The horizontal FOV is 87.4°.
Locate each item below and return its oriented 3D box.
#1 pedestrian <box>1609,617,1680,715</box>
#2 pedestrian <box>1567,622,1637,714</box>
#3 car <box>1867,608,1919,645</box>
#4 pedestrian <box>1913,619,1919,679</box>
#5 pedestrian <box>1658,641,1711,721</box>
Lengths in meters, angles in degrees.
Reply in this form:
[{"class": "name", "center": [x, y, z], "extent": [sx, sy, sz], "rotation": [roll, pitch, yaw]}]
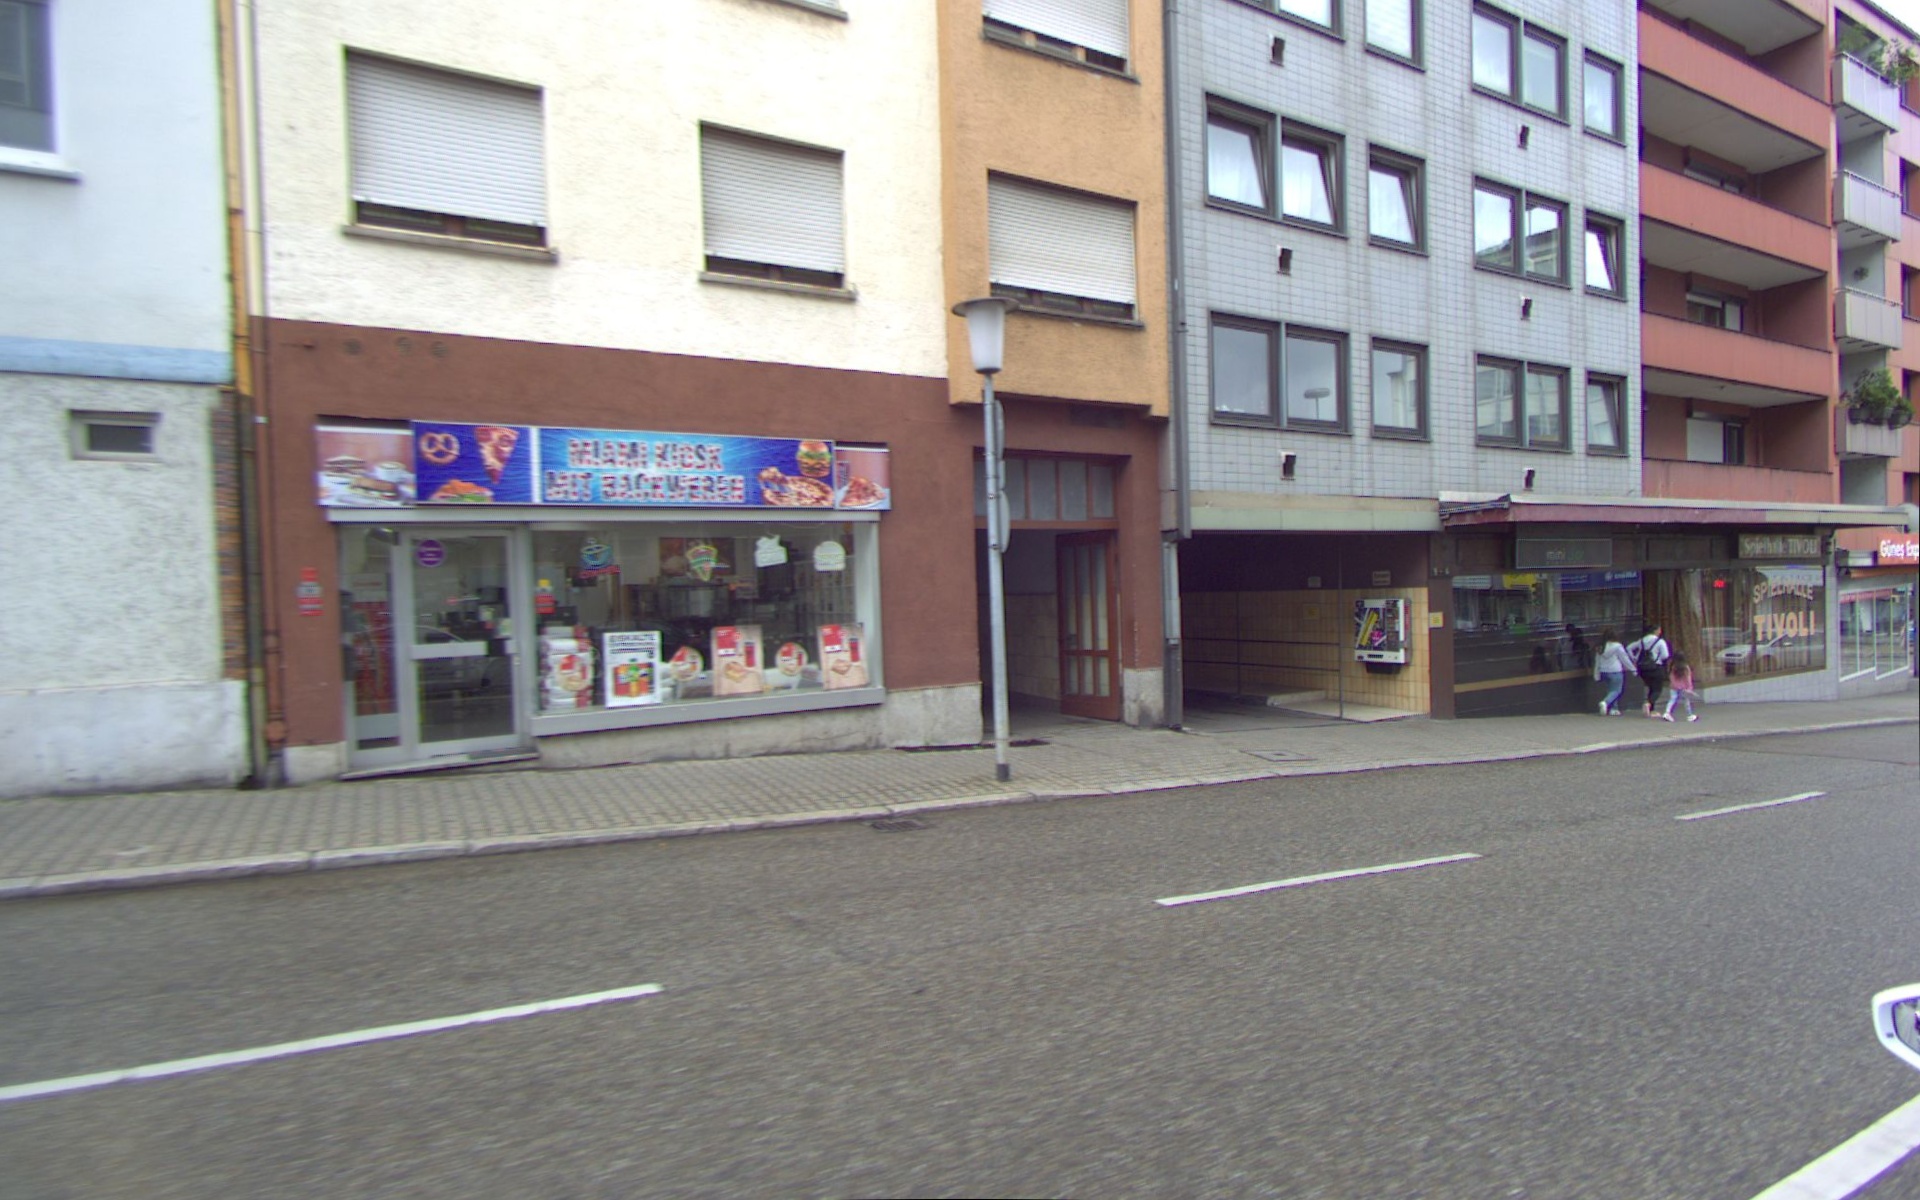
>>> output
[{"class": "pedestrian", "center": [12.553, 1.191, 18.425], "extent": [0.717, 1.712, 0.821], "rotation": [1, 2, -38]}, {"class": "pedestrian", "center": [11.713, 1.222, 18.334], "extent": [0.717, 1.582, 0.821], "rotation": [1, 2, -38]}, {"class": "car", "center": [52.491, 1.517, 54.785], "extent": [1.963, 1.862, 4.170], "rotation": [2, 2, -6]}, {"class": "pedestrian", "center": [30.491, 1.547, 31.472], "extent": [0.750, 1.873, 0.842], "rotation": [1, 0, 34]}, {"class": "pedestrian", "center": [12.805, 1.409, 17.755], "extent": [0.717, 1.341, 0.529], "rotation": [1, 2, -38]}]
